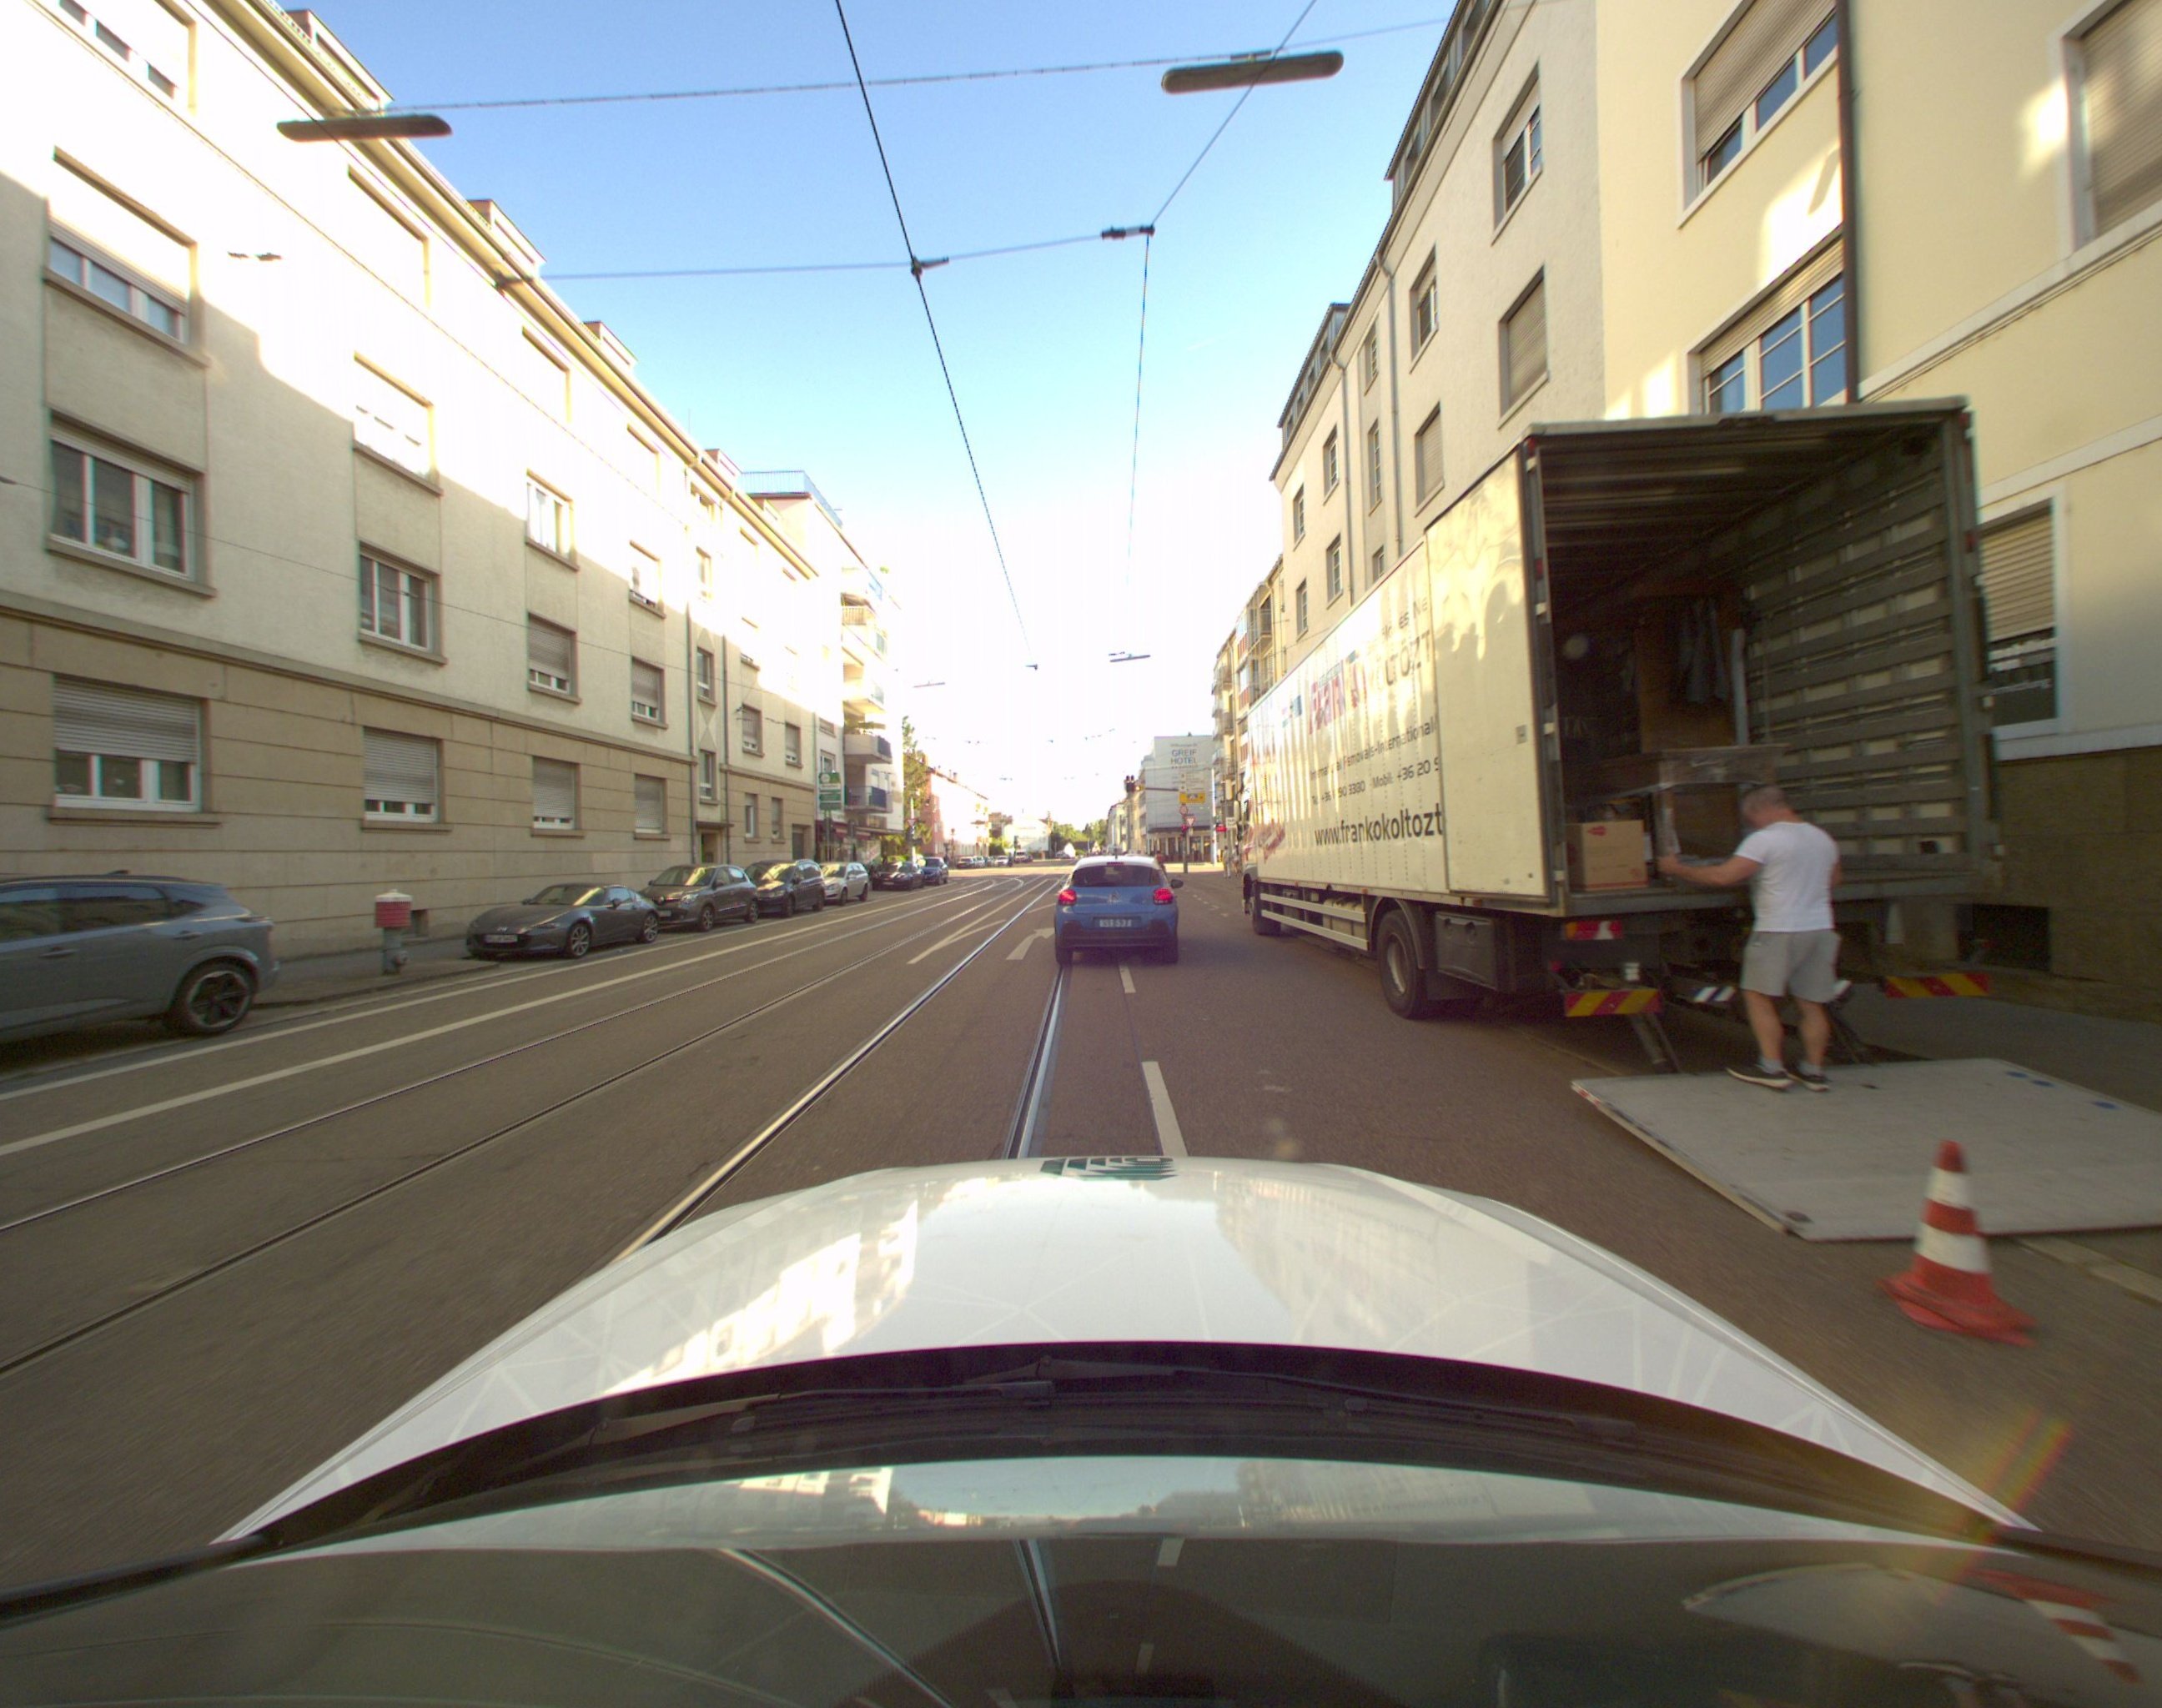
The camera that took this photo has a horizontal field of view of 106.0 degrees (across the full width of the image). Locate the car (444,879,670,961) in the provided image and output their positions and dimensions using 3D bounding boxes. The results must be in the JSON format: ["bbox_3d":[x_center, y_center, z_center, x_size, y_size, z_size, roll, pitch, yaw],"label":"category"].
[{"bbox_3d":[-9.377,1.120,14.984,1.694,1.216,3.784,0,-1,0],"label":"car"}]

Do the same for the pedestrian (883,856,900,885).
[{"bbox_3d":[-10.470,0.921,45.086,0.694,1.548,0.722,-2,0,4],"label":"pedestrian"}]

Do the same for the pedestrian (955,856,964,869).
[{"bbox_3d":[-15.869,1.142,106.336,0.839,1.690,0.738,-1,0,6],"label":"pedestrian"}]

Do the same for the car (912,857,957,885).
[{"bbox_3d":[-8.290,0.943,46.416,1.738,1.509,4.001,0,-1,1],"label":"car"}]

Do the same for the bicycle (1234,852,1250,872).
[{"bbox_3d":[9.033,0.432,45.801,0.528,1.072,1.811,-2,0,1],"label":"bicycle"}]

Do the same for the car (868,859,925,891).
[{"bbox_3d":[-9.038,0.988,40.209,1.693,1.509,4.313,0,-1,1],"label":"car"}]

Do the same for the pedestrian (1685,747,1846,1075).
[{"bbox_3d":[3.891,0.311,4.654,0.511,1.775,0.416,-2,0,1],"label":"pedestrian"}]

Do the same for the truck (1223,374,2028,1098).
[{"bbox_3d":[4.155,-0.698,10.588,2.849,4.073,11.784,-2,0,2],"label":"truck"}]

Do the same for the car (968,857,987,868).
[{"bbox_3d":[-14.002,1.132,110.271,1.905,1.497,3.999,-2,0,0],"label":"car"}]

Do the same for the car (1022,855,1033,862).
[{"bbox_3d":[-11.471,0.998,175.632,2.015,1.525,3.999,-1,0,0],"label":"car"}]

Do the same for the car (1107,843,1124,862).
[{"bbox_3d":[4.316,-0.202,102.408,1.987,2.325,4.000,-1,0,1],"label":"car"}]

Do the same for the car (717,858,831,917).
[{"bbox_3d":[-9.010,0.924,24.278,1.693,1.615,4.244,0,-1,1],"label":"car"}]

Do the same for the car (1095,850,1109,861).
[{"bbox_3d":[3.048,0.196,121.127,1.987,1.508,4.000,-2,0,1],"label":"car"}]

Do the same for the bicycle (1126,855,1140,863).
[{"bbox_3d":[6.286,0.603,98.242,1.712,0.957,0.703,-2,0,5],"label":"bicycle"}]

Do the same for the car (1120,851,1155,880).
[{"bbox_3d":[3.030,0.592,43.465,1.731,1.420,4.004,-1,0,4],"label":"car"}]

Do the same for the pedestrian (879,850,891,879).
[{"bbox_3d":[-13.520,0.707,56.223,0.684,2.013,0.486,-1,0,-2],"label":"pedestrian"}]

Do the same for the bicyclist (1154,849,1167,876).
[{"bbox_3d":[4.862,0.533,49.904,0.723,1.646,0.791,-2,0,4],"label":"bicyclist"}]

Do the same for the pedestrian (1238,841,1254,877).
[{"bbox_3d":[7.791,0.222,38.549,0.539,1.672,0.650,-3,0,2],"label":"pedestrian"}]

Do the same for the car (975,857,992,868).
[{"bbox_3d":[-13.982,1.214,117.071,1.905,1.497,3.999,-2,0,0],"label":"car"}]

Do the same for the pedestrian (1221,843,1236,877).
[{"bbox_3d":[7.340,0.286,40.593,0.539,1.672,0.624,-3,1,2],"label":"pedestrian"}]

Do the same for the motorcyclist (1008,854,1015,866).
[{"bbox_3d":[-8.352,0.744,97.840,0.716,1.378,0.912,-2,0,4],"label":"motorcyclist"}]

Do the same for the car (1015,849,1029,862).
[{"bbox_3d":[-10.802,0.198,150.272,2.200,2.251,4.676,-2,0,0],"label":"car"}]

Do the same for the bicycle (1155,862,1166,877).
[{"bbox_3d":[4.904,0.939,50.388,0.497,0.864,1.749,-2,0,2],"label":"bicycle"}]

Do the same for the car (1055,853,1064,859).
[{"bbox_3d":[-5.213,0.482,200.236,2.015,1.525,3.999,-1,0,0],"label":"car"}]

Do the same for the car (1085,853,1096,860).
[{"bbox_3d":[1.743,0.474,148.241,1.751,1.259,3.828,-1,0,-3],"label":"car"}]

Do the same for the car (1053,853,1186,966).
[{"bbox_3d":[0.446,0.716,12.643,1.739,1.462,3.997,0,0,-2],"label":"car"}]

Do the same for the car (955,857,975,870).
[{"bbox_3d":[-14.219,1.155,99.903,1.906,1.433,3.997,-2,0,-2],"label":"car"}]

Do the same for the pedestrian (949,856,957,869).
[{"bbox_3d":[-16.751,1.151,106.280,0.839,1.690,0.738,-1,0,6],"label":"pedestrian"}]

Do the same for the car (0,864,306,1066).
[{"bbox_3d":[-9.406,0.918,6.721,1.693,1.568,4.407,-1,0,1],"label":"car"}]

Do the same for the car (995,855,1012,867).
[{"bbox_3d":[-10.951,0.977,115.277,1.844,1.574,4.400,-1,0,0],"label":"car"}]

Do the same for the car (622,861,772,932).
[{"bbox_3d":[-9.258,0.955,20.005,1.693,1.569,4.001,0,-1,1],"label":"car"}]

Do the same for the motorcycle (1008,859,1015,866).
[{"bbox_3d":[-8.343,1.031,97.994,0.613,0.864,1.673,-2,0,4],"label":"motorcycle"}]

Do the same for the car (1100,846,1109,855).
[{"bbox_3d":[4.694,-0.680,161.535,1.682,1.618,4.001,-1,0,2],"label":"car"}]

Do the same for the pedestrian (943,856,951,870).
[{"bbox_3d":[-16.391,1.071,99.552,0.839,1.690,0.738,-1,0,6],"label":"pedestrian"}]

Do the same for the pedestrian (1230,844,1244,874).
[{"bbox_3d":[8.080,0.257,42.230,0.539,1.507,0.611,-3,1,2],"label":"pedestrian"}]

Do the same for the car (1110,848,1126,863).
[{"bbox_3d":[4.414,0.126,97.471,1.726,1.750,3.214,-1,0,1],"label":"car"}]

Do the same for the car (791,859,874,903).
[{"bbox_3d":[-9.021,0.947,29.944,1.693,1.509,4.386,0,-1,0],"label":"car"}]
